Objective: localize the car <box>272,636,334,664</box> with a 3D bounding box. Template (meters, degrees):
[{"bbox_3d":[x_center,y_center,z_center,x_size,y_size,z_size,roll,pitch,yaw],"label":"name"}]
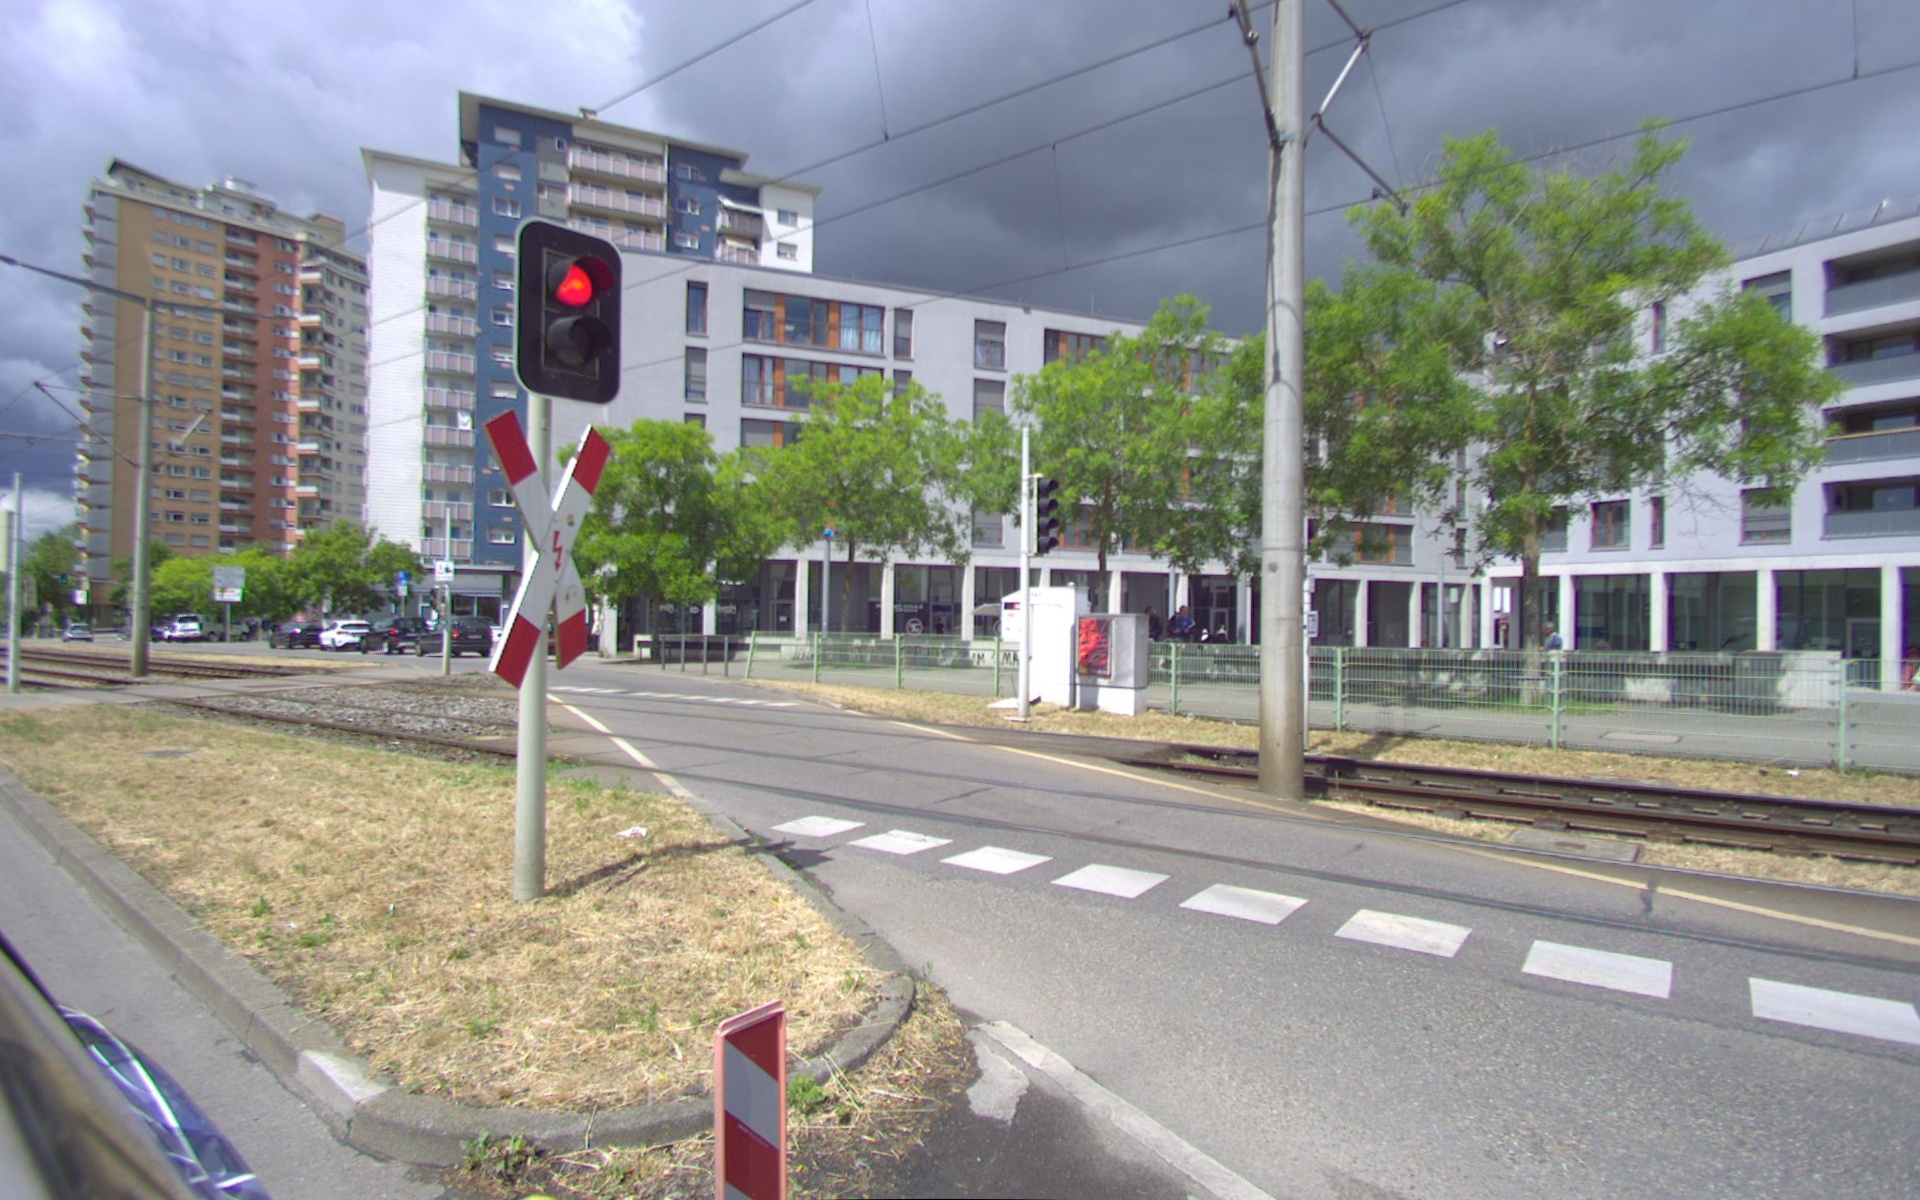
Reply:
[{"bbox_3d":[-34.679,2.634,53.373,4.380,1.439,1.715,-3,-4,43],"label":"car"}]

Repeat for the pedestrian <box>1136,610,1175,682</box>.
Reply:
[{"bbox_3d":[4.351,1.027,22.530,0.614,1.585,0.559,3,-5,-38],"label":"pedestrian"}]

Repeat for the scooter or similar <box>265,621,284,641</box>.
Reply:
[{"bbox_3d":[-41.628,1.887,61.479,0.758,1.133,0.581,-3,-6,0],"label":"scooter or similar"}]

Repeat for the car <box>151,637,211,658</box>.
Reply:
[{"bbox_3d":[-60.043,3.675,78.060,1.723,1.508,3.765,0,-3,1],"label":"car"}]

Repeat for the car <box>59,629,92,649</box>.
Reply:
[{"bbox_3d":[-75.150,3.340,85.930,3.756,1.544,1.797,-4,-5,45],"label":"car"}]

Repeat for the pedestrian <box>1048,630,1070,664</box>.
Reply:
[{"bbox_3d":[3.240,1.525,33.138,0.491,1.104,0.579,1,-3,-25],"label":"pedestrian"}]

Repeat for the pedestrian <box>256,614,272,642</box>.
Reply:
[{"bbox_3d":[-45.901,1.868,66.736,0.829,1.806,0.876,2,-4,-35],"label":"pedestrian"}]

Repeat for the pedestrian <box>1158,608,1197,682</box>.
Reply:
[{"bbox_3d":[4.718,0.977,21.980,0.615,1.585,0.558,3,-5,-44],"label":"pedestrian"}]

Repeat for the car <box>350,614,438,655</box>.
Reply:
[{"bbox_3d":[-24.708,1.510,44.153,4.094,1.675,1.974,-3,-3,38],"label":"car"}]

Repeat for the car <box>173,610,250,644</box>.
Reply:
[{"bbox_3d":[-51.795,1.902,70.160,1.879,2.173,4.762,0,-3,-1],"label":"car"}]

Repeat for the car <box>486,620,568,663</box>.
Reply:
[{"bbox_3d":[-15.374,1.519,35.843,1.594,1.437,3.426,3,-5,-43],"label":"car"}]

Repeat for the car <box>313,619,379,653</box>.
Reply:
[{"bbox_3d":[-29.440,1.769,48.478,1.733,1.486,4.403,3,-5,-44],"label":"car"}]

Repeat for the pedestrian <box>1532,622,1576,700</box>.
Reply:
[{"bbox_3d":[12.104,1.232,20.629,0.536,1.559,0.530,2,-4,-29],"label":"pedestrian"}]

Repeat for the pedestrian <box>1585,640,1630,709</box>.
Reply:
[{"bbox_3d":[12.098,1.384,18.915,0.536,1.256,0.459,2,-4,-29],"label":"pedestrian"}]

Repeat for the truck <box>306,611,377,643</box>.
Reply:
[{"bbox_3d":[-75.512,3.376,123.660,6.991,3.703,2.549,3,-5,-43],"label":"truck"}]

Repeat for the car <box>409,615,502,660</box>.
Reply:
[{"bbox_3d":[-20.109,1.527,40.287,4.100,1.660,1.971,-4,-5,43],"label":"car"}]
